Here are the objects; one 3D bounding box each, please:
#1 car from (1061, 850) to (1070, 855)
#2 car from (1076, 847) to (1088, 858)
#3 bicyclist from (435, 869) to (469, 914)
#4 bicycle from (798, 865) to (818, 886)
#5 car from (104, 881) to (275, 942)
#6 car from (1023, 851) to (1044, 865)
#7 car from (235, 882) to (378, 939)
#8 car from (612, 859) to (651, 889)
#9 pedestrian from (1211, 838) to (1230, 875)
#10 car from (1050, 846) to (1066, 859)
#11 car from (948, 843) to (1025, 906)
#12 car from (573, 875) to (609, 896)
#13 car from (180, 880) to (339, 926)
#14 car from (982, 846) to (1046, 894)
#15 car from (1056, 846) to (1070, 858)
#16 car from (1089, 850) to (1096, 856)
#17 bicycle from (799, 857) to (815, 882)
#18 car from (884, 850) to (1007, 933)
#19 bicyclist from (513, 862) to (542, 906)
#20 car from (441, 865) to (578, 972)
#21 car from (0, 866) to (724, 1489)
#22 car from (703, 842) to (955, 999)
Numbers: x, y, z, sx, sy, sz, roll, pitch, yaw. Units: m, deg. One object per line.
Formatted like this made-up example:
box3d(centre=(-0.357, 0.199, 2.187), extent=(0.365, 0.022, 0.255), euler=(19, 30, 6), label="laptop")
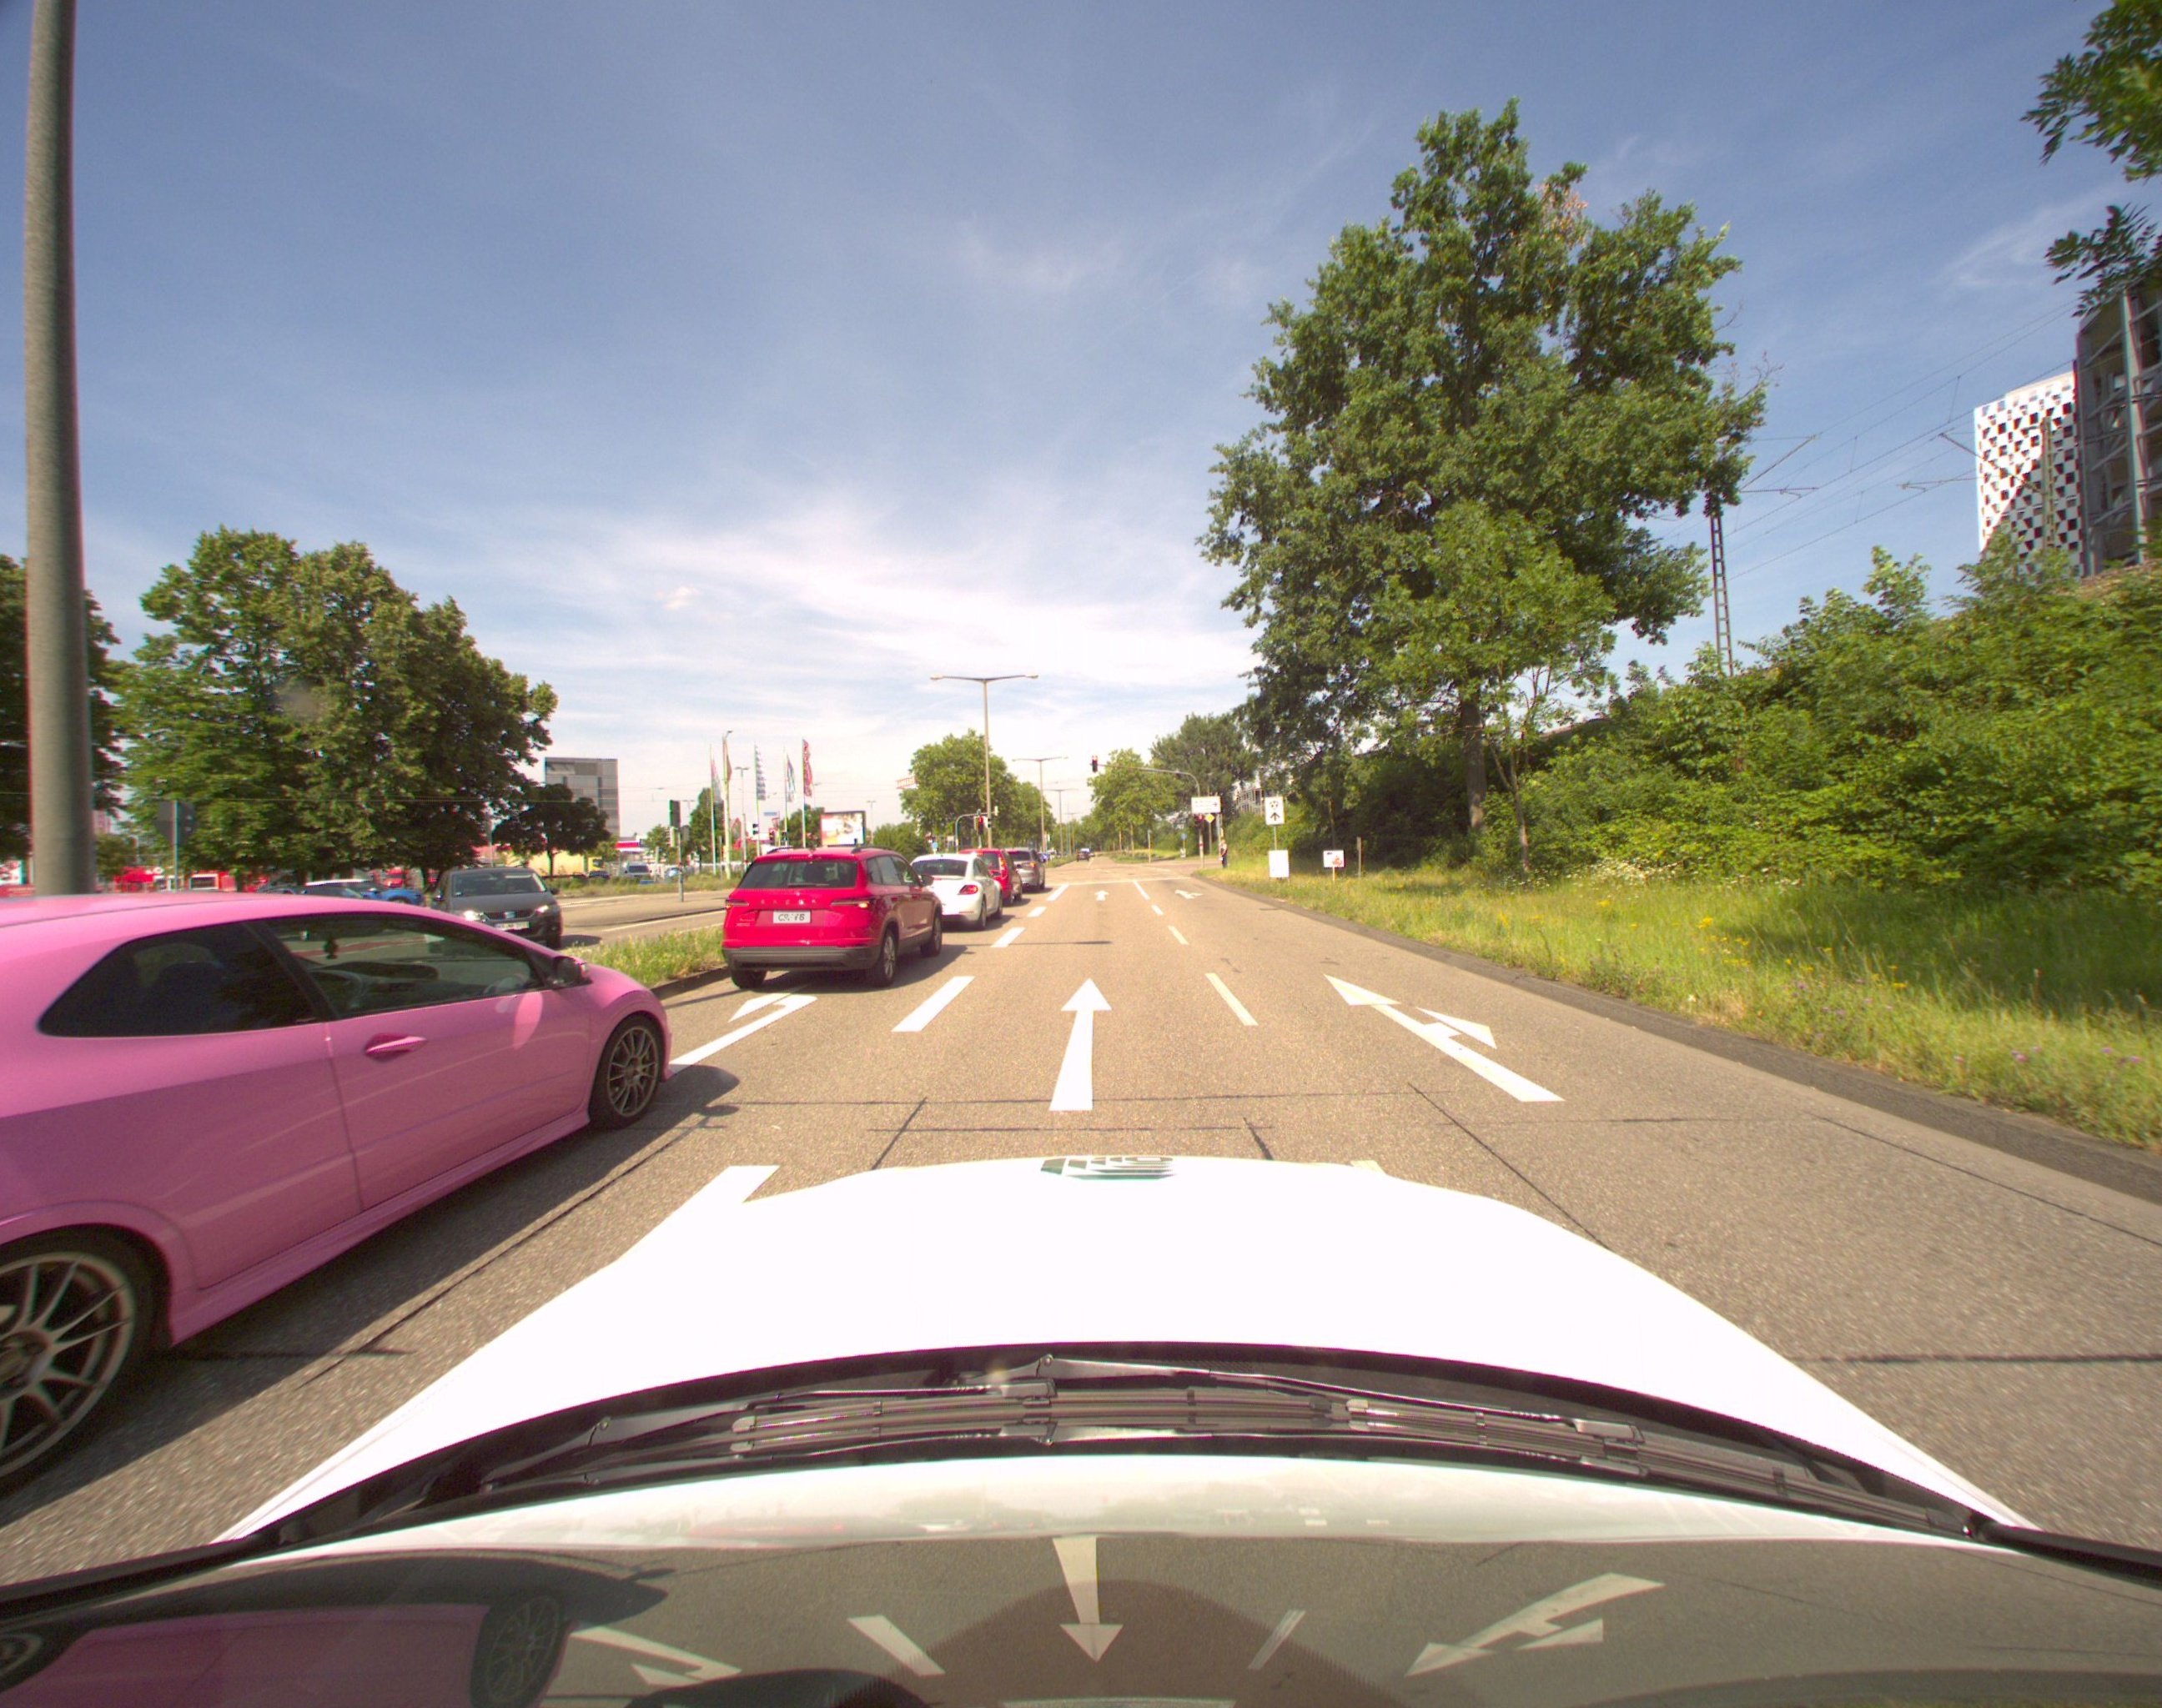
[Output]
box3d(centre=(-5.110, -0.526, 259.891), extent=(1.869, 1.694, 4.387), euler=(-2, 0, -14), label="car")
box3d(centre=(0.164, -0.233, 122.021), extent=(1.730, 1.535, 4.003), euler=(-2, 2, 2), label="car")
box3d(centre=(-24.135, 1.425, 31.262), extent=(0.904, 1.646, 0.780), euler=(-3, 3, -34), label="bicyclist")
box3d(centre=(-18.222, 1.427, 54.420), extent=(0.670, 1.256, 2.244), euler=(-3, 0, -3), label="bicycle")
box3d(centre=(-27.696, 1.767, 25.327), extent=(4.121, 1.603, 1.729), euler=(-3, 0, 13), label="car")
box3d(centre=(-5.343, 0.425, 92.592), extent=(1.986, 1.500, 4.001), euler=(-2, 0, 1), label="car")
box3d(centre=(-22.276, 1.611, 23.401), extent=(3.949, 1.388, 1.776), euler=(-2, 1, 28), label="car")
box3d(centre=(-40.994, 1.830, 74.170), extent=(2.011, 2.532, 4.583), euler=(-3, 0, -42), label="car")
box3d(centre=(7.509, 0.107, 43.838), extent=(0.835, 1.932, 0.771), euler=(-2, 2, -2), label="pedestrian")
box3d(centre=(-3.409, -0.252, 121.012), extent=(1.987, 1.895, 4.376), euler=(-2, 0, 1), label="car")
box3d(centre=(-2.651, 0.574, 23.533), extent=(1.623, 1.595, 3.919), euler=(-2, -1, 1), label="car")
box3d(centre=(-43.117, 2.786, 71.647), extent=(2.011, 1.684, 3.953), euler=(-3, 0, -40), label="car")
box3d(centre=(-31.025, 1.801, 30.962), extent=(4.020, 1.420, 1.977), euler=(-3, 0, -39), label="car")
box3d(centre=(-2.387, 0.540, 30.090), extent=(1.874, 1.618, 4.213), euler=(-2, 0, 1), label="car")
box3d(centre=(-3.019, -0.382, 136.943), extent=(1.986, 1.895, 4.377), euler=(-2, 0, 1), label="car")
box3d(centre=(2.975, -0.282, 209.151), extent=(1.861, 1.574, 4.002), euler=(-3, 0, 2), label="car")
box3d(centre=(-18.235, 1.051, 54.265), extent=(0.671, 1.615, 0.991), euler=(-3, 0, -4), label="bicycle")
box3d(centre=(-2.674, 0.683, 17.033), extent=(1.760, 1.479, 4.137), euler=(-1, 0, 1), label="car")
box3d(centre=(-22.635, 1.204, 33.306), extent=(0.904, 1.715, 0.774), euler=(-3, 3, -34), label="bicyclist")
box3d(centre=(-11.296, 1.167, 16.385), extent=(1.875, 1.750, 4.356), euler=(-3, 0, -31), label="car")
box3d(centre=(-3.369, 0.802, 3.392), extent=(1.696, 1.390, 4.473), euler=(-1, 0, 1), label="car")
box3d(centre=(-2.983, 0.680, 10.791), extent=(1.776, 1.593, 4.595), euler=(-1, 0, 1), label="car")
